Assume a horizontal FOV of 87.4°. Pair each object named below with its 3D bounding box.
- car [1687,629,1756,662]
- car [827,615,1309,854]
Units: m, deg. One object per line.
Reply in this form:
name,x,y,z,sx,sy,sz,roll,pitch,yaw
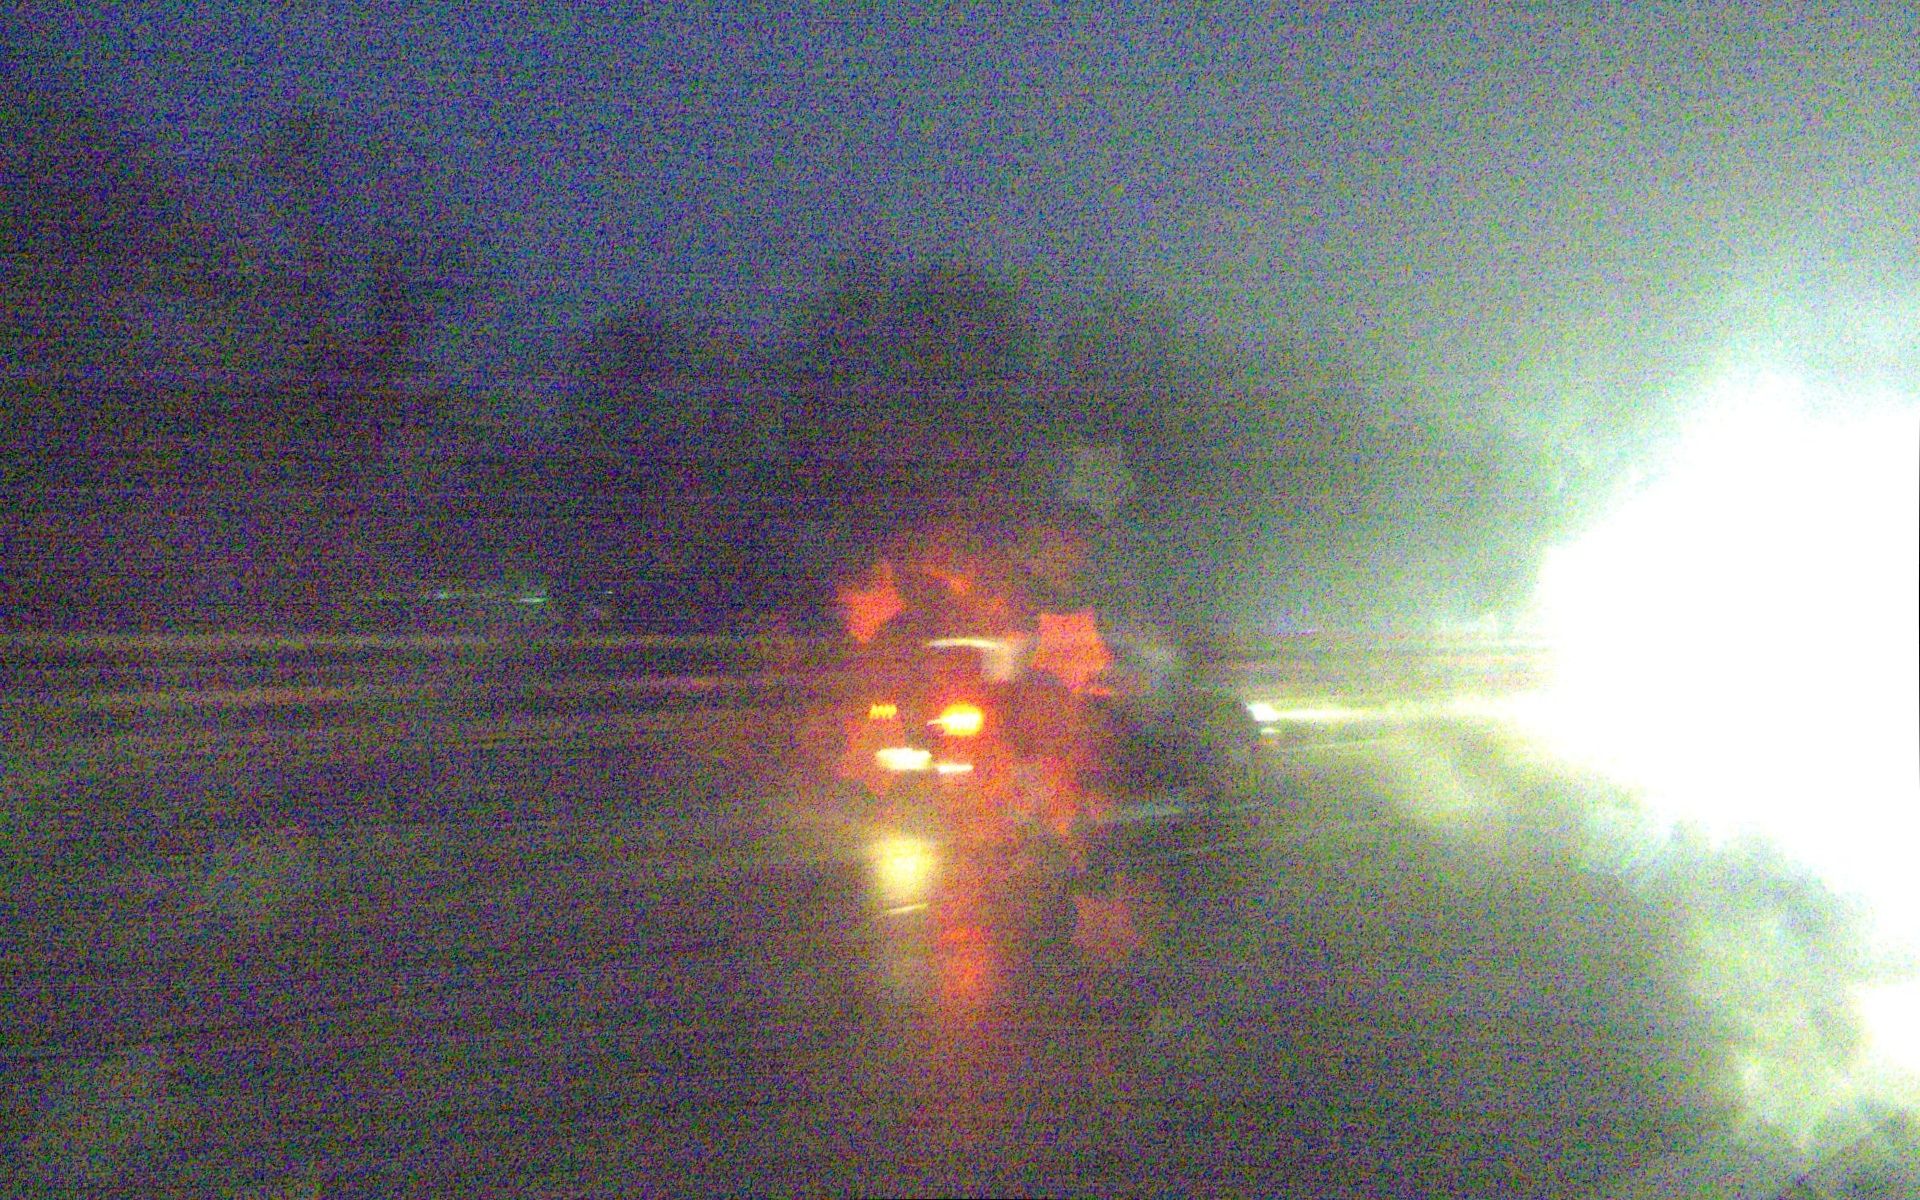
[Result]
car,36.395,2.151,47.994,3.859,1.493,1.770,2,-2,-39
car,0.968,0.953,8.409,3.805,1.596,1.641,1,-3,-31
